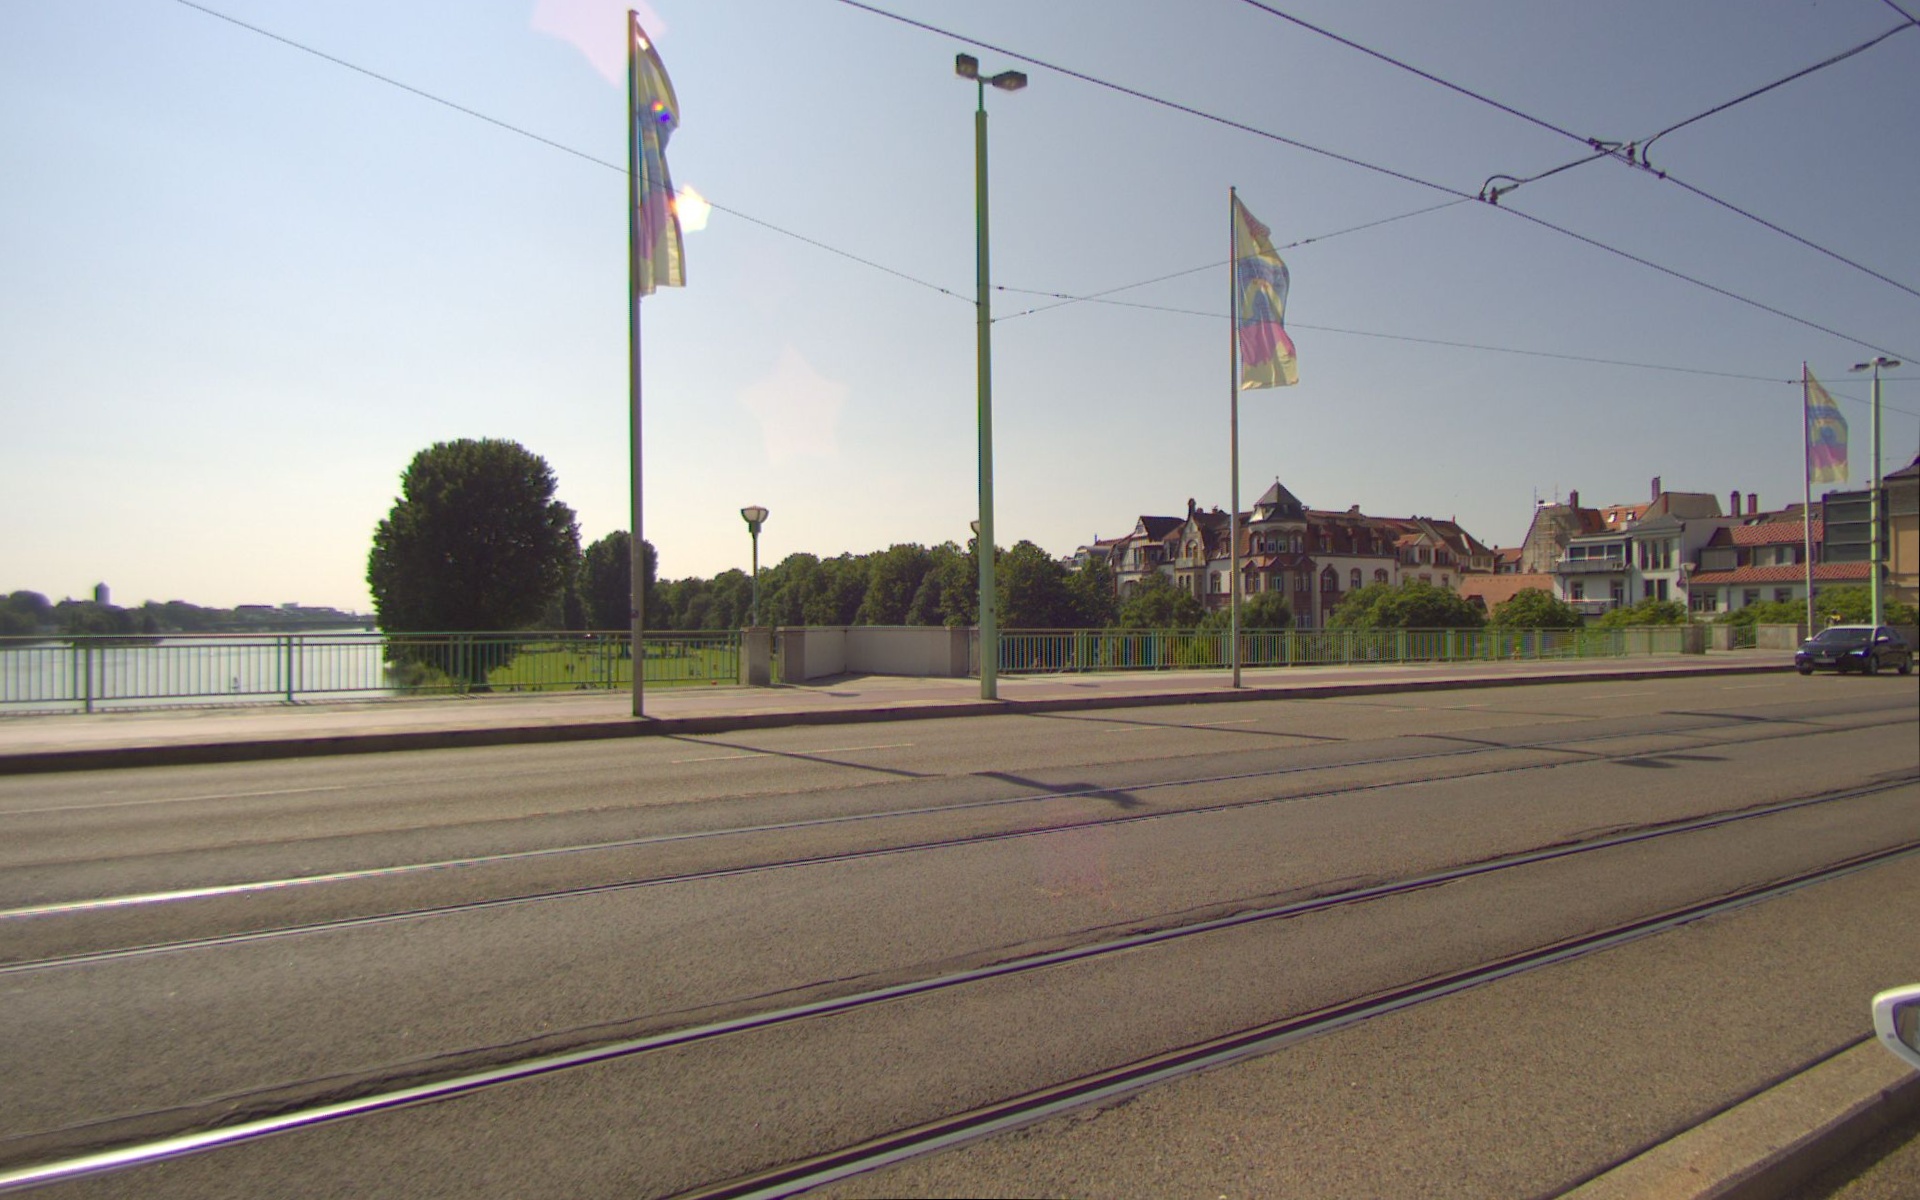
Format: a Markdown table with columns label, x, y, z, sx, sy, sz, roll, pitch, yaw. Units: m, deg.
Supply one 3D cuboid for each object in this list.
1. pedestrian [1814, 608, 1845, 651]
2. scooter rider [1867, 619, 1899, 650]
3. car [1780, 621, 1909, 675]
| label | x | y | z | sx | sy | sz | roll | pitch | yaw |
| --- | --- | --- | --- | --- | --- | --- | --- | --- | --- |
| pedestrian | 36.866 | 1.262 | 42.596 | 0.791 | 1.804 | 0.742 | 0 | -2 | -28 |
| scooter rider | 41.392 | 1.533 | 45.052 | 0.588 | 1.333 | 0.767 | 1 | 3 | -18 |
| car | 25.830 | 1.375 | 29.313 | 3.856 | 1.473 | 1.708 | 1 | -2 | -30 |
